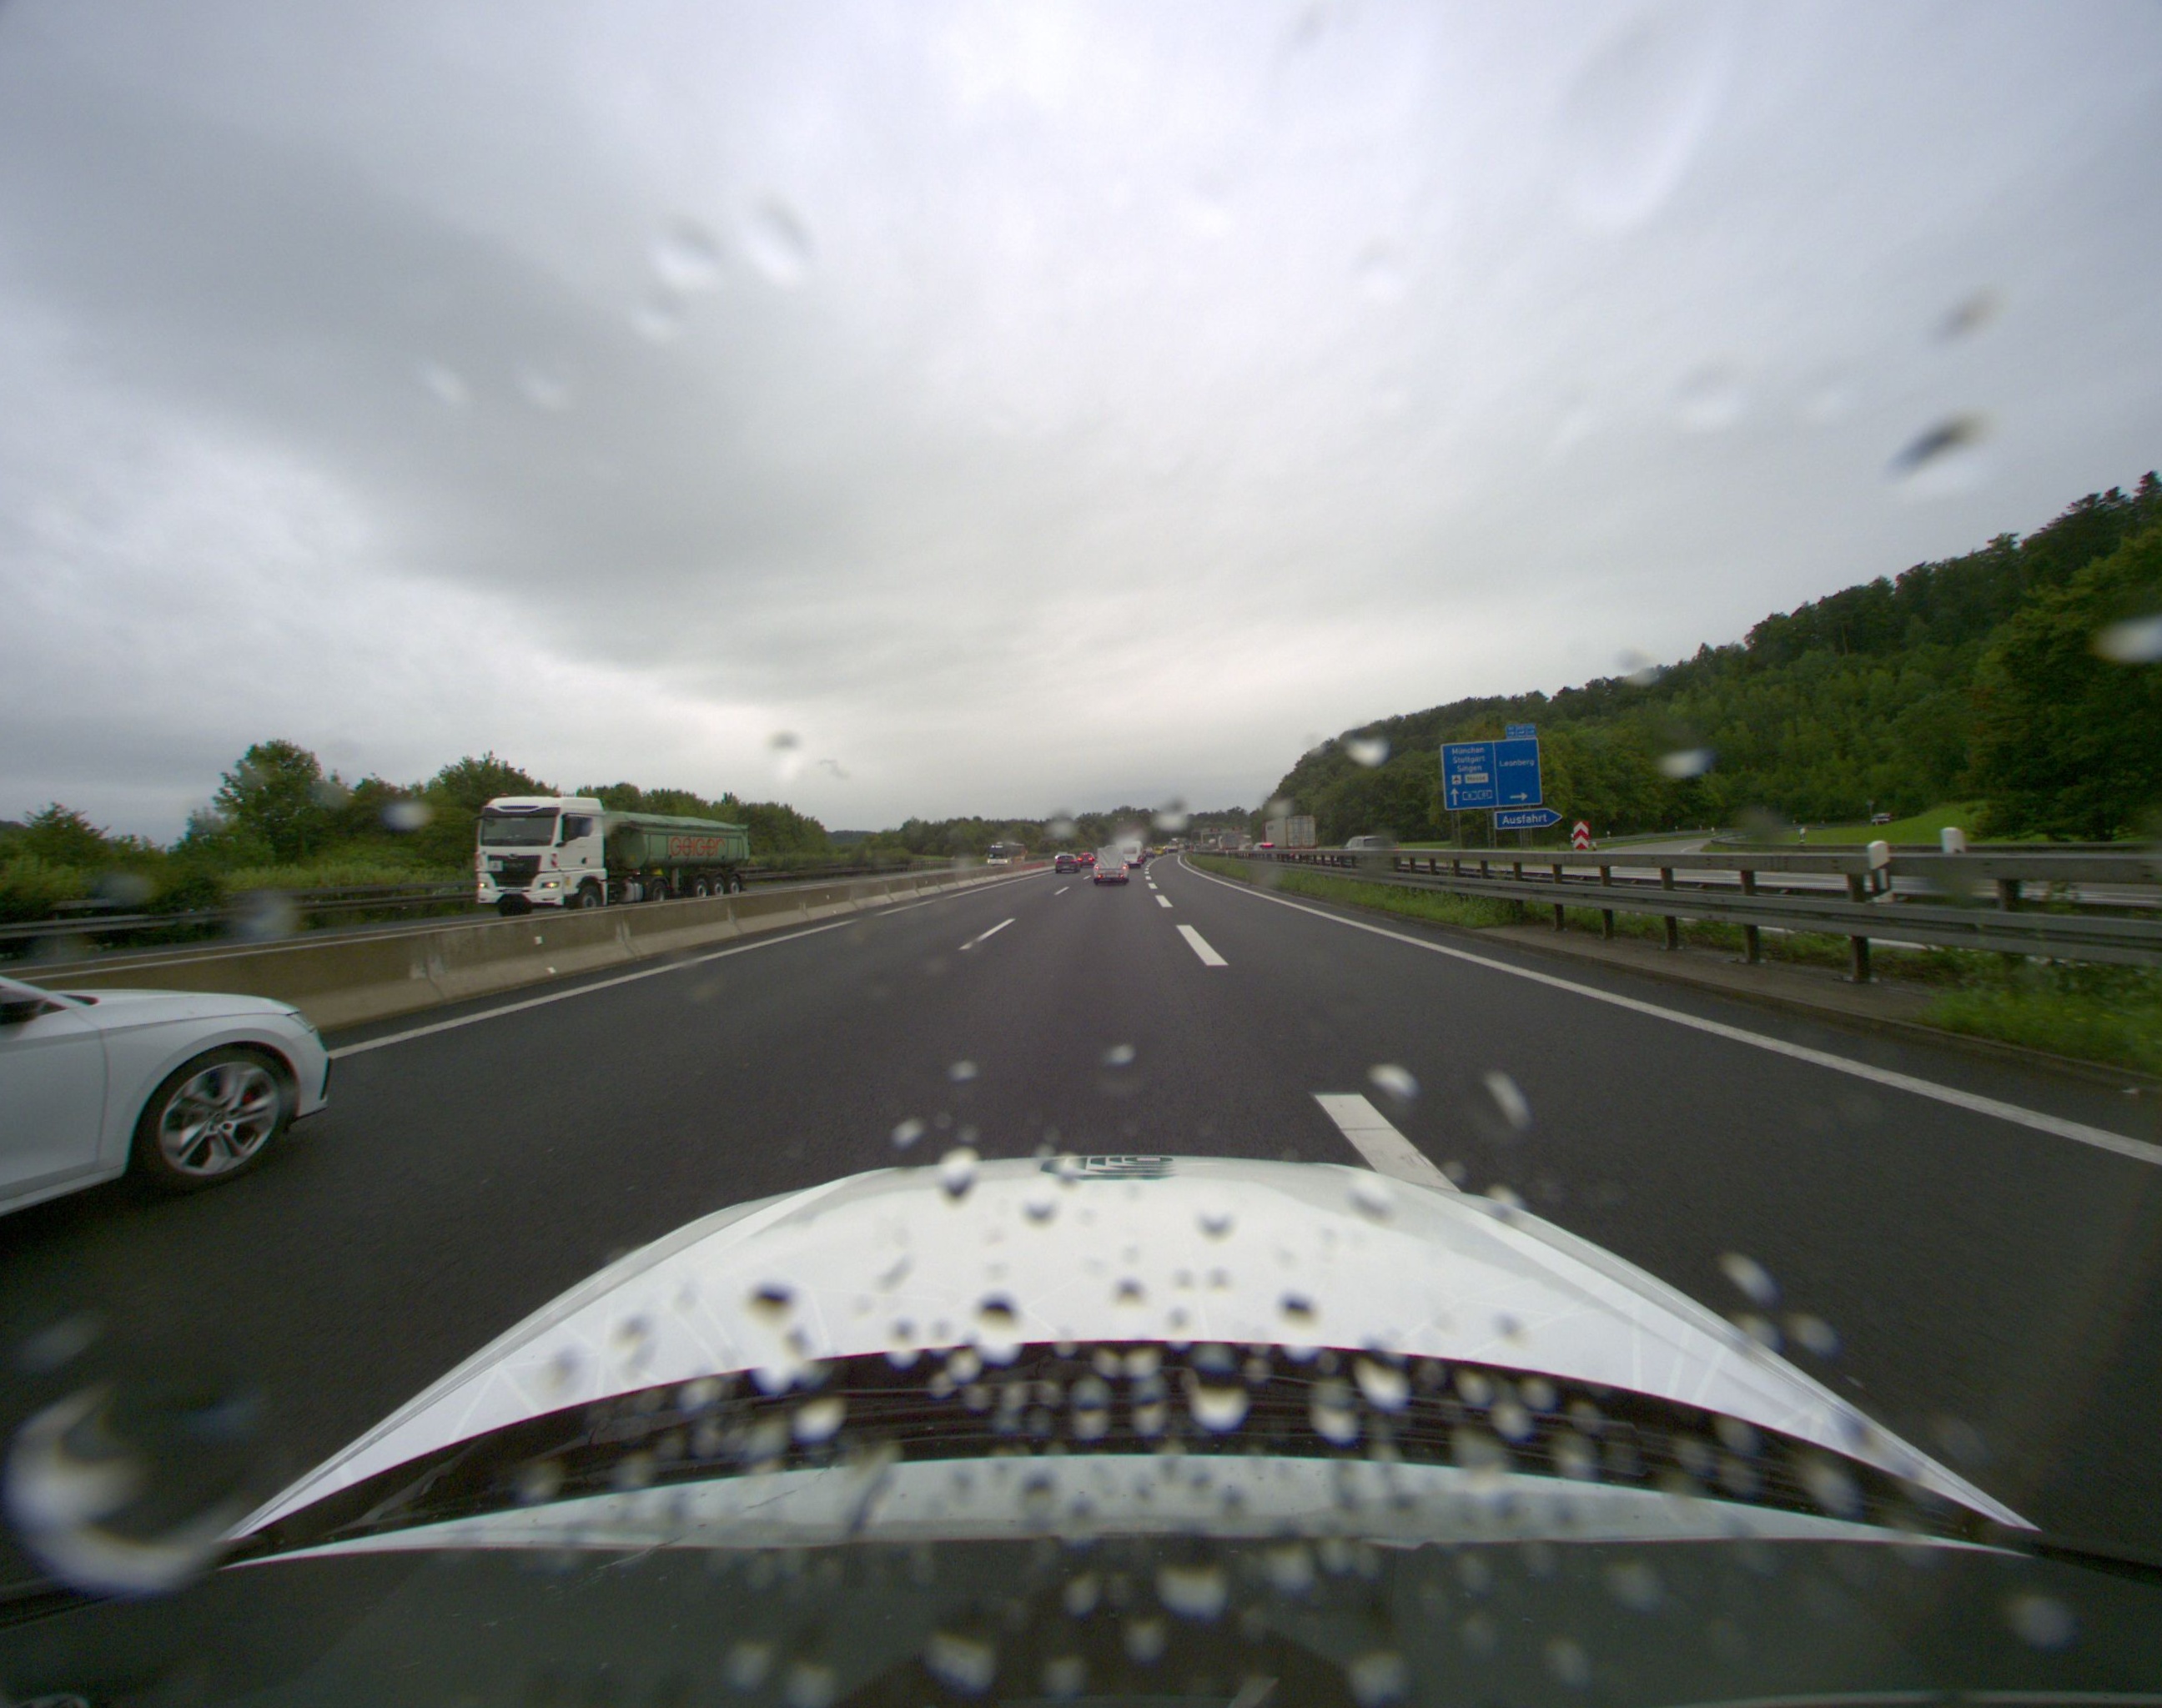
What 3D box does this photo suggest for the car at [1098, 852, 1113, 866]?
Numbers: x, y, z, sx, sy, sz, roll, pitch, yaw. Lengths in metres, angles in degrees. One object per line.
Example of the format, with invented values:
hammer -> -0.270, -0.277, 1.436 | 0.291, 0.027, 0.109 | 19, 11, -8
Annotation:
car -> 3.198, 0.630, 105.568 | 1.767, 1.640, 4.048 | -2, 0, 5

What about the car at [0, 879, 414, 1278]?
car -> -5.025, 0.897, 2.552 | 1.812, 1.456, 4.779 | -2, 0, 1

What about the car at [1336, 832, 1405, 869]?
car -> 12.153, -0.133, 34.412 | 1.659, 1.382, 4.131 | -4, 0, 4

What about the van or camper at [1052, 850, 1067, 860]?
van or camper -> -3.301, 0.206, 126.908 | 1.739, 1.447, 4.594 | -3, 0, 6

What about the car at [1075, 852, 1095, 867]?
car -> 0.450, 0.588, 84.020 | 1.757, 1.456, 4.005 | -2, 0, 5

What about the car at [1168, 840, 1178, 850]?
car -> 25.640, -2.505, 227.394 | 2.501, 2.574, 5.324 | -2, 0, 8

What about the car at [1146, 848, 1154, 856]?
car -> 18.004, -0.601, 214.020 | 1.984, 2.014, 4.005 | -2, 0, 4

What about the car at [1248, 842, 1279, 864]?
car -> 14.331, -0.053, 64.309 | 1.761, 1.610, 4.650 | -2, 0, 5

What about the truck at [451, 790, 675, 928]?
truck -> -15.883, 0.159, 25.595 | 2.874, 3.749, 5.951 | -2, 0, 4

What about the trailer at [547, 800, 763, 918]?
trailer -> -15.536, 0.180, 30.809 | 2.890, 3.749, 8.936 | -2, 0, 4

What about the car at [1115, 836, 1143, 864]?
car -> 4.739, -0.342, 79.290 | 2.496, 2.585, 5.707 | -2, 0, 5

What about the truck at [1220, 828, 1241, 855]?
truck -> 27.781, -2.289, 151.774 | 3.197, 4.666, 13.064 | -2, 0, 9

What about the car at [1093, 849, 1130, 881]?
car -> 1.732, 0.587, 44.453 | 1.810, 1.616, 4.783 | -2, 0, 4

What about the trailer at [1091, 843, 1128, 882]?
trailer -> 1.481, 0.401, 40.756 | 1.668, 1.812, 4.004 | -2, 0, 3

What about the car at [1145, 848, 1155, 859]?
car -> 12.272, -0.081, 145.327 | 1.668, 1.812, 4.004 | -2, 0, 3

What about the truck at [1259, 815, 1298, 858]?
truck -> 18.977, -1.616, 78.605 | 2.604, 3.884, 6.399 | -2, 0, 4

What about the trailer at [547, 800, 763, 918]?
trailer -> -15.536, 0.180, 30.809 | 2.890, 3.749, 8.936 | -2, 0, 4

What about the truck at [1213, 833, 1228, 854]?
truck -> 33.689, -2.463, 196.737 | 3.196, 4.666, 13.067 | -2, 0, 10

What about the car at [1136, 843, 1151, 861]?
car -> 7.552, -0.255, 98.611 | 1.668, 2.067, 4.005 | -2, 0, 5

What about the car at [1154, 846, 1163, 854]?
car -> 16.628, -0.834, 174.451 | 1.667, 1.812, 4.006 | -2, 0, 6

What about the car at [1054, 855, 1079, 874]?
car -> -1.125, 0.818, 64.785 | 1.669, 1.456, 4.003 | -2, 0, 3

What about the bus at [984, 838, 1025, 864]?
bus -> -9.650, -0.311, 104.334 | 2.685, 2.958, 11.917 | -4, -1, 6

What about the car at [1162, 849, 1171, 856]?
car -> 20.362, -0.358, 194.339 | 2.026, 1.683, 4.010 | -2, 0, 8

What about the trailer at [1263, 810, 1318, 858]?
trailer -> 18.525, -1.632, 72.867 | 2.592, 3.894, 12.507 | -2, 0, 5
